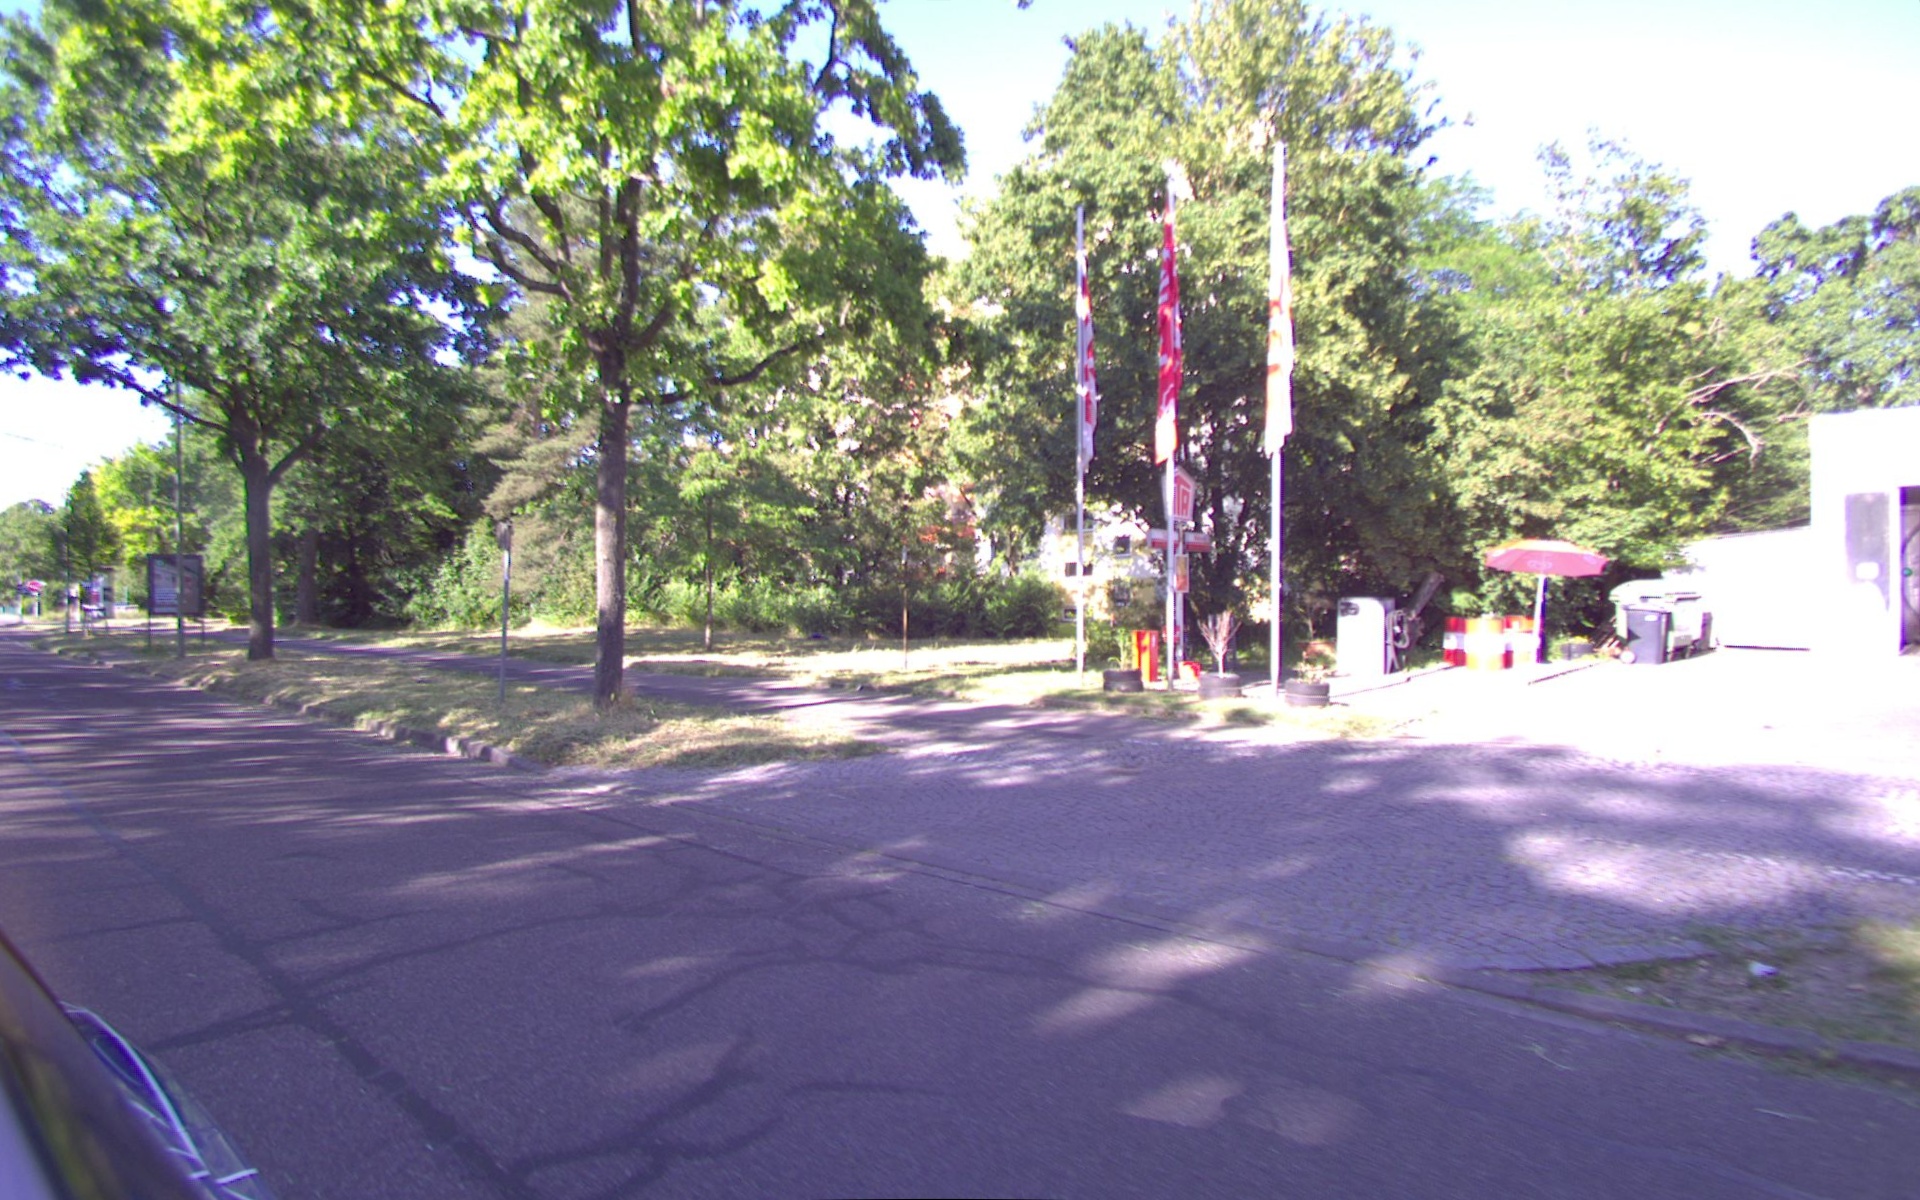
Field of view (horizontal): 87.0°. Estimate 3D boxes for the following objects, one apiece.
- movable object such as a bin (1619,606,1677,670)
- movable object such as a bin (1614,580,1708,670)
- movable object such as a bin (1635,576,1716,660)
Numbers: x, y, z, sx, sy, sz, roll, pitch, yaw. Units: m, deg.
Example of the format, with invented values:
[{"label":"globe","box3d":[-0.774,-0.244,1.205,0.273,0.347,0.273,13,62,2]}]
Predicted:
[{"label":"movable object such as a bin","box3d":[11.998,0.648,17.646,0.768,1.094,0.562,0,0,41]},{"label":"movable object such as a bin","box3d":[12.707,0.428,18.331,1.267,1.553,1.290,0,0,41]},{"label":"movable object such as a bin","box3d":[13.865,0.322,19.603,1.163,1.553,1.290,0,1,41]}]
